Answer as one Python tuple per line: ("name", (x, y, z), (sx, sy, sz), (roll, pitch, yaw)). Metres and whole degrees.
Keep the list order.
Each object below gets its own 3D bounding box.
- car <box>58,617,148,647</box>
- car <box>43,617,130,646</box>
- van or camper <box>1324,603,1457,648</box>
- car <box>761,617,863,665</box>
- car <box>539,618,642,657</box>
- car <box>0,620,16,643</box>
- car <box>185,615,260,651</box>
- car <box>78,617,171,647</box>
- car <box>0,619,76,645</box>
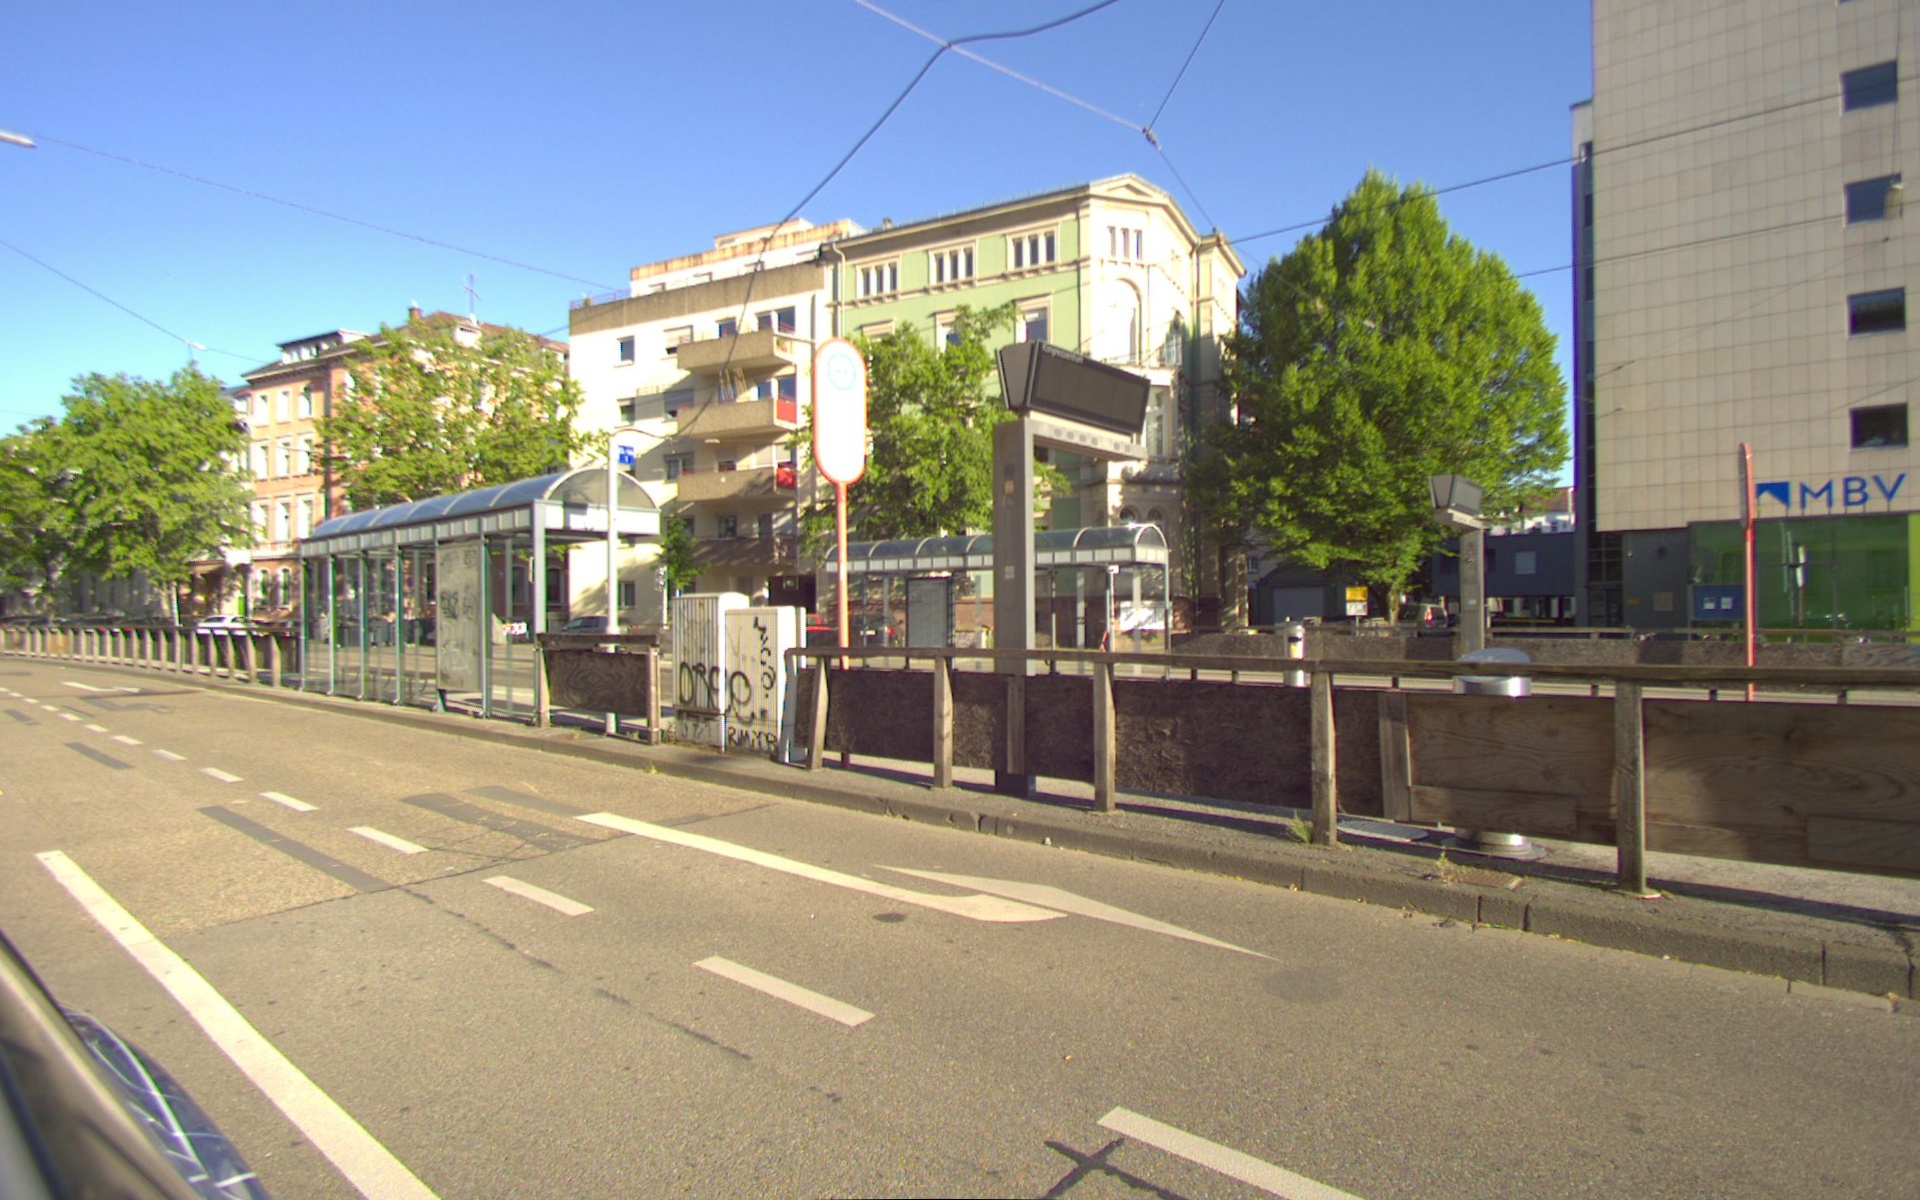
("car", (-51.295, 1.887, 60.629), (2.001, 1.697, 3.942), (-2, -2, 44))
("car", (-54.302, 1.933, 62.958), (2.001, 1.697, 3.942), (-2, -2, 44))
("van or camper", (15.505, 0.884, 36.548), (3.998, 1.417, 1.943), (2, 0, 41))
("car", (-5.002, 1.364, 34.691), (1.763, 1.547, 3.763), (-1, -2, 23))
("car", (-14.003, 1.412, 38.395), (3.498, 1.406, 1.602), (-1, -2, 22))
("car", (-68.101, 2.191, 70.113), (2.001, 1.604, 3.812), (-2, -2, 44))
("car", (-39.522, 1.751, 54.375), (1.966, 1.736, 4.012), (0, 1, -15))
("car", (-47.978, 1.824, 58.156), (2.001, 1.697, 3.942), (-2, -2, 44))
("car", (-59.612, 2.058, 65.269), (3.811, 1.604, 2.001), (1, -2, -45))
